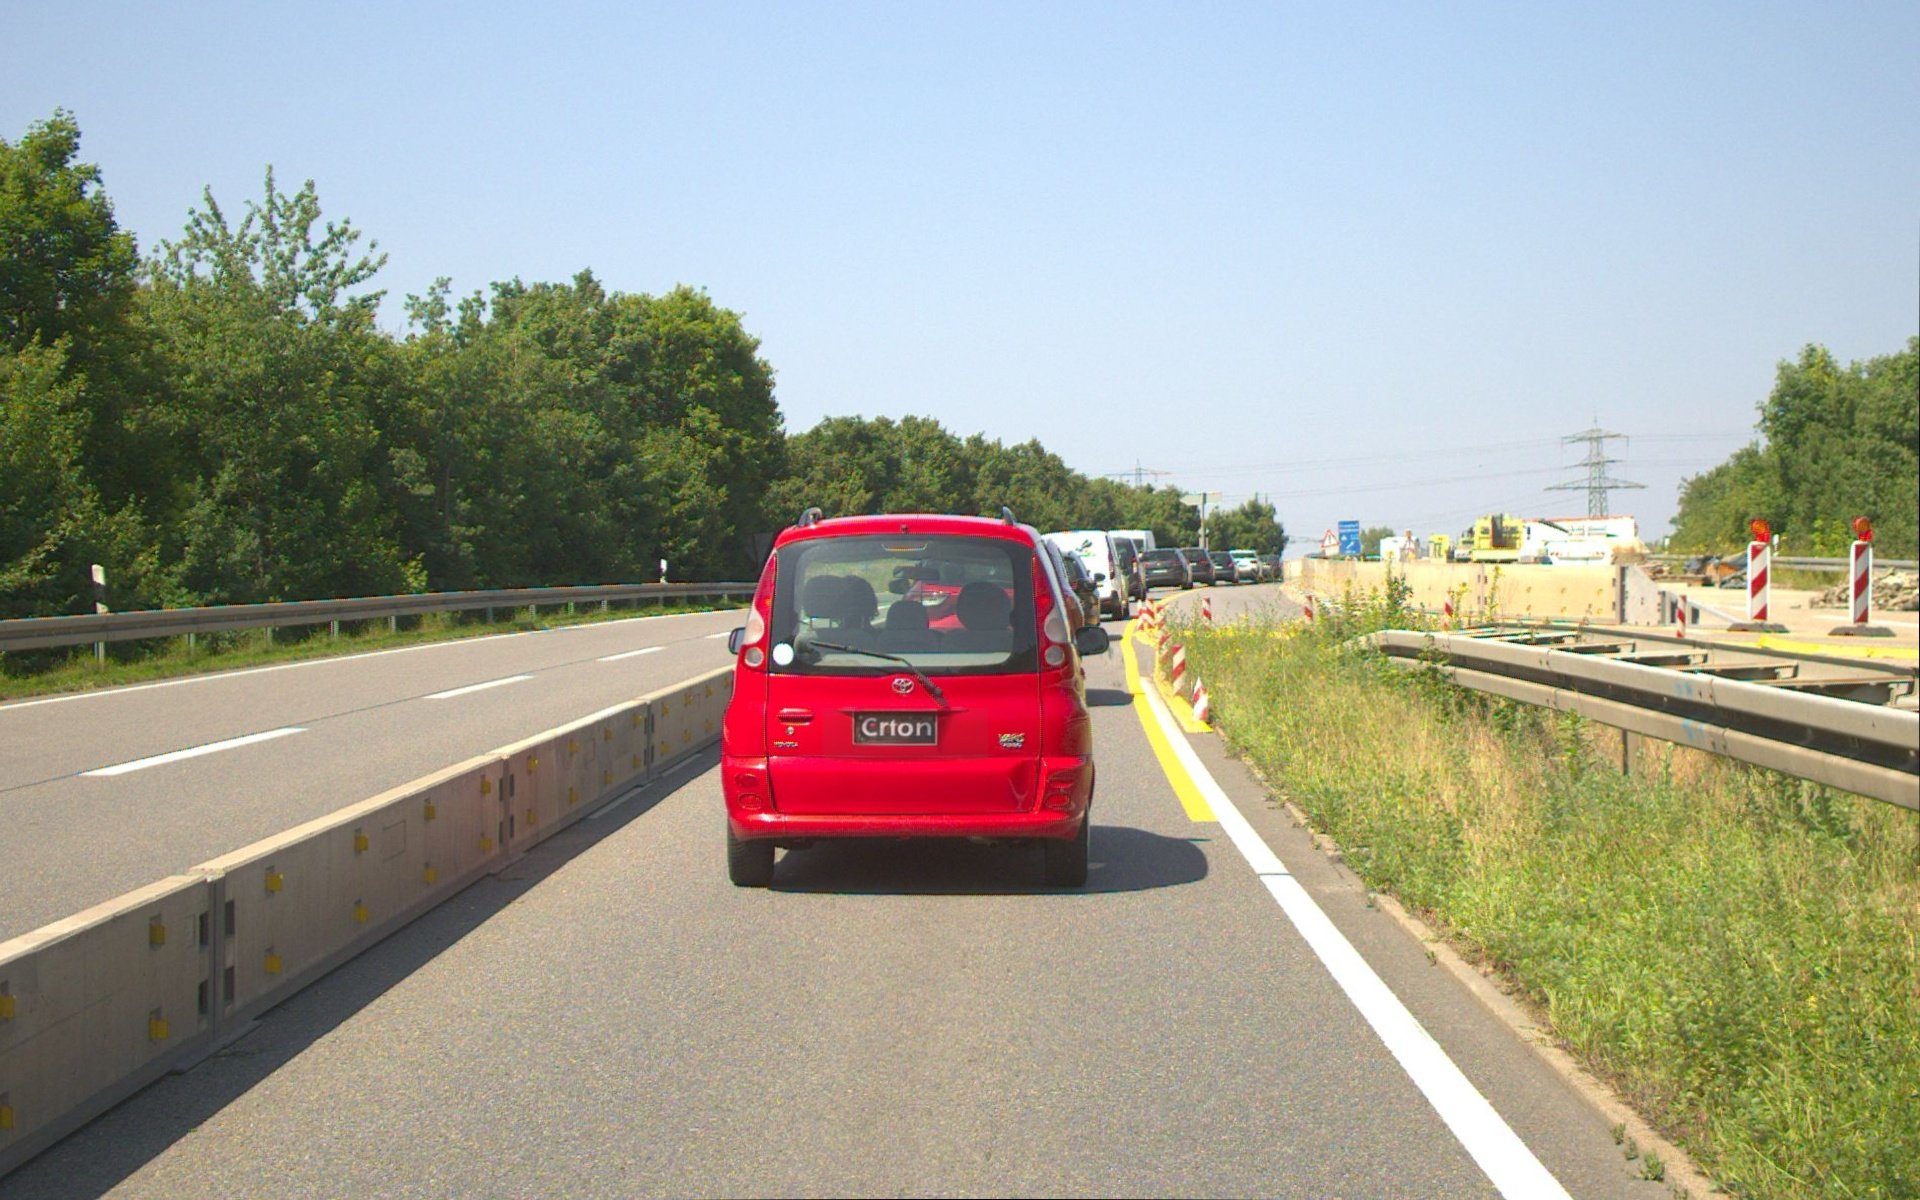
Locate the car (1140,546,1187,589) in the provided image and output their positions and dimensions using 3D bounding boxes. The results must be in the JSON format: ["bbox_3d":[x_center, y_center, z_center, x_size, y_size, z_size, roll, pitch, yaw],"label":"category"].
[{"bbox_3d":[7.096,-1.137,120.039,1.502,1.446,3.325,-1,1,1],"label":"car"}]

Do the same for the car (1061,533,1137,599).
[{"bbox_3d":[3.774,-0.937,93.689,1.993,1.744,4.000,1,1,2],"label":"car"}]

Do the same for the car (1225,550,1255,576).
[{"bbox_3d":[14.094,-1.875,172.942,1.421,1.294,2.879,0,1,3],"label":"car"}]

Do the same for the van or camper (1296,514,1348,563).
[{"bbox_3d":[20.493,-3.467,194.675,2.328,2.697,4.593,-1,0,-1],"label":"van or camper"}]

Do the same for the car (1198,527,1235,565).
[{"bbox_3d":[11.638,-2.462,156.199,1.502,1.730,3.170,0,1,1],"label":"car"}]

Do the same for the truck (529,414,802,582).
[{"bbox_3d":[-9.769,-3.386,114.726,8.621,5.357,3.389,-1,1,3],"label":"truck"}]

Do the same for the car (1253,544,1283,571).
[{"bbox_3d":[16.640,-2.285,185.954,1.502,1.446,3.170,0,1,3],"label":"car"}]

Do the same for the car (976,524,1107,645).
[{"bbox_3d":[1.318,-0.271,54.371,1.993,1.831,4.000,0,1,2],"label":"car"}]

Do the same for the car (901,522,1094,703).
[{"bbox_3d":[0.391,0.086,34.674,1.830,1.716,4.000,0,1,1],"label":"car"}]

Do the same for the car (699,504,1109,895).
[{"bbox_3d":[-0.233,0.402,16.702,1.752,1.667,4.000,0,1,0],"label":"car"}]

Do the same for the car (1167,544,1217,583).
[{"bbox_3d":[9.616,-1.529,142.239,1.994,1.579,3.999,0,1,5],"label":"car"}]

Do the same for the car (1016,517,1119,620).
[{"bbox_3d":[2.203,-0.638,69.511,1.994,1.997,4.000,1,1,3],"label":"car"}]
